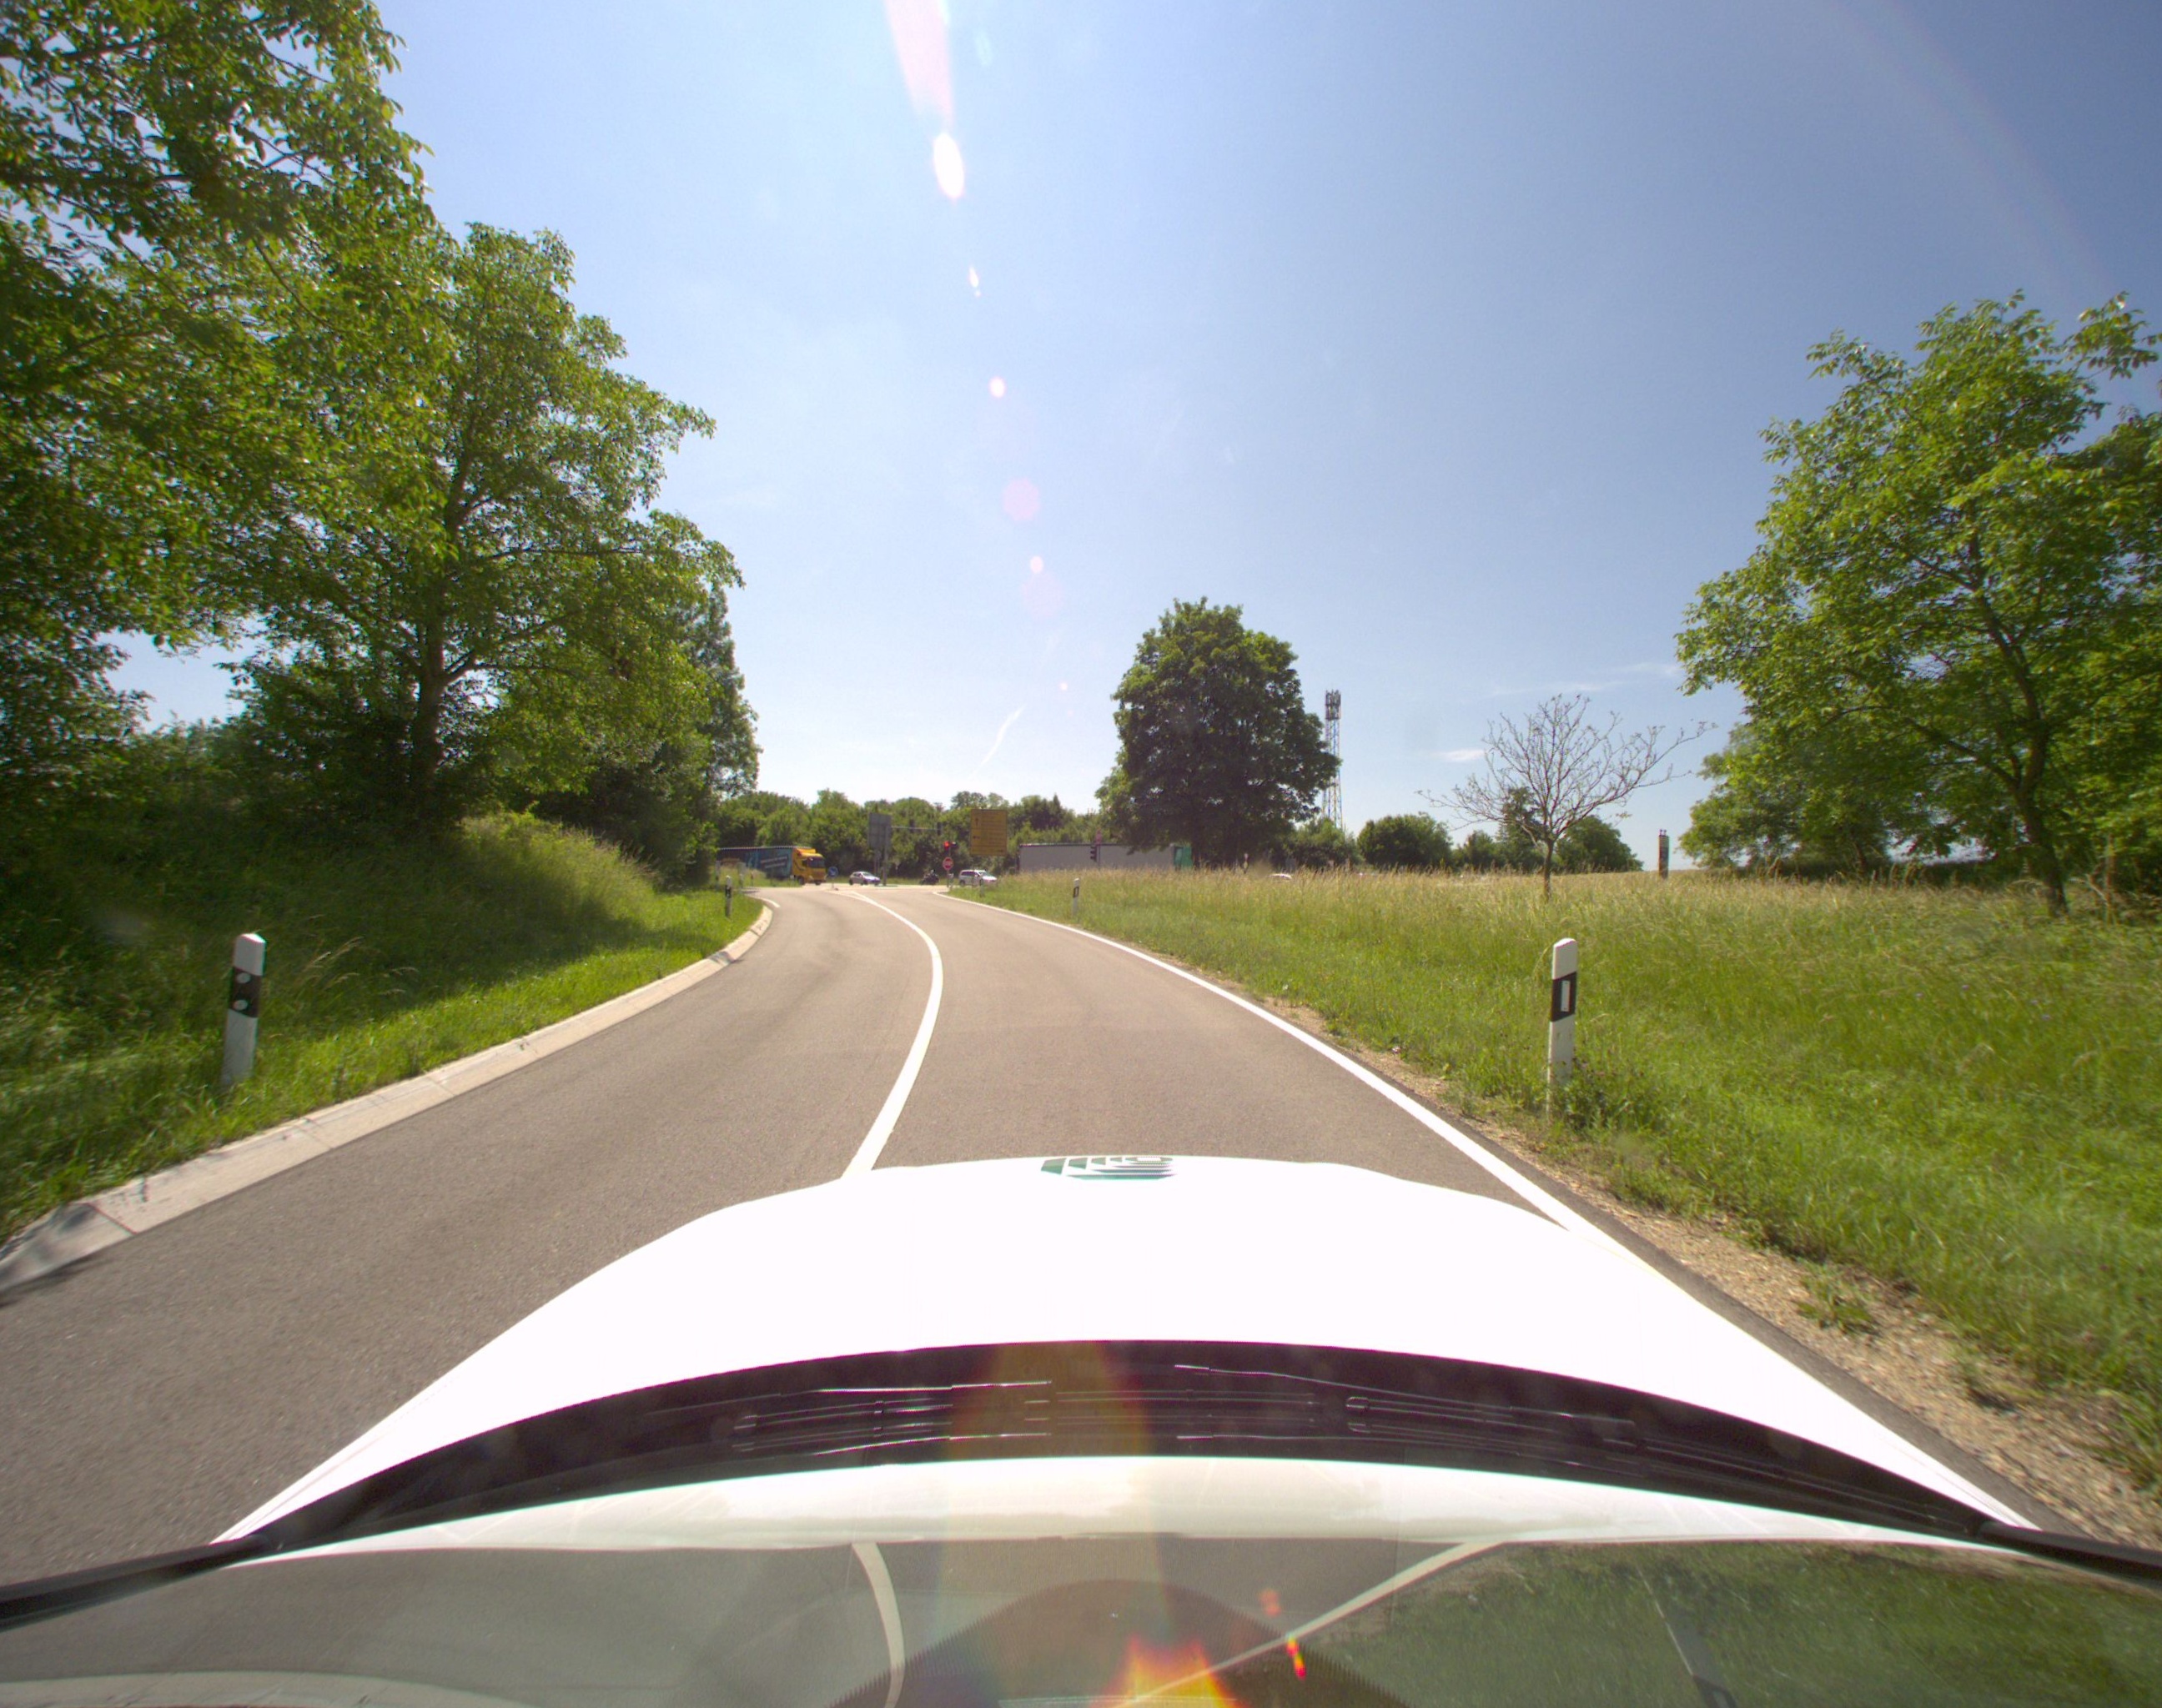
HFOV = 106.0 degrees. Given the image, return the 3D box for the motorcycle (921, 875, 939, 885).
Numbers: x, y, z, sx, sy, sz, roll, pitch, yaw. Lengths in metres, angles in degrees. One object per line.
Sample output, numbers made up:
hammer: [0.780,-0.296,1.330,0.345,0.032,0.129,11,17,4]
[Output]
motorcycle: [-16.506,2.849,89.144,1.849,0.963,0.735,-2,-1,29]

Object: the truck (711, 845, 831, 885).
truck: [-34.642,1.195,90.359,16.595,4.132,2.869,0,-2,32]

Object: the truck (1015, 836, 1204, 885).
truck: [2.528,0.621,72.691,16.531,4.173,3.143,0,-1,9]

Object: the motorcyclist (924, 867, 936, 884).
motorcyclist: [-16.512,2.340,89.161,0.887,1.843,0.844,-2,-2,27]

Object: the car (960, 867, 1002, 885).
car: [-9.412,2.103,76.521,3.642,1.575,1.736,-2,-1,32]

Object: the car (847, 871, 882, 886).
car: [-23.193,2.630,87.269,3.864,1.575,1.670,-2,-1,39]
